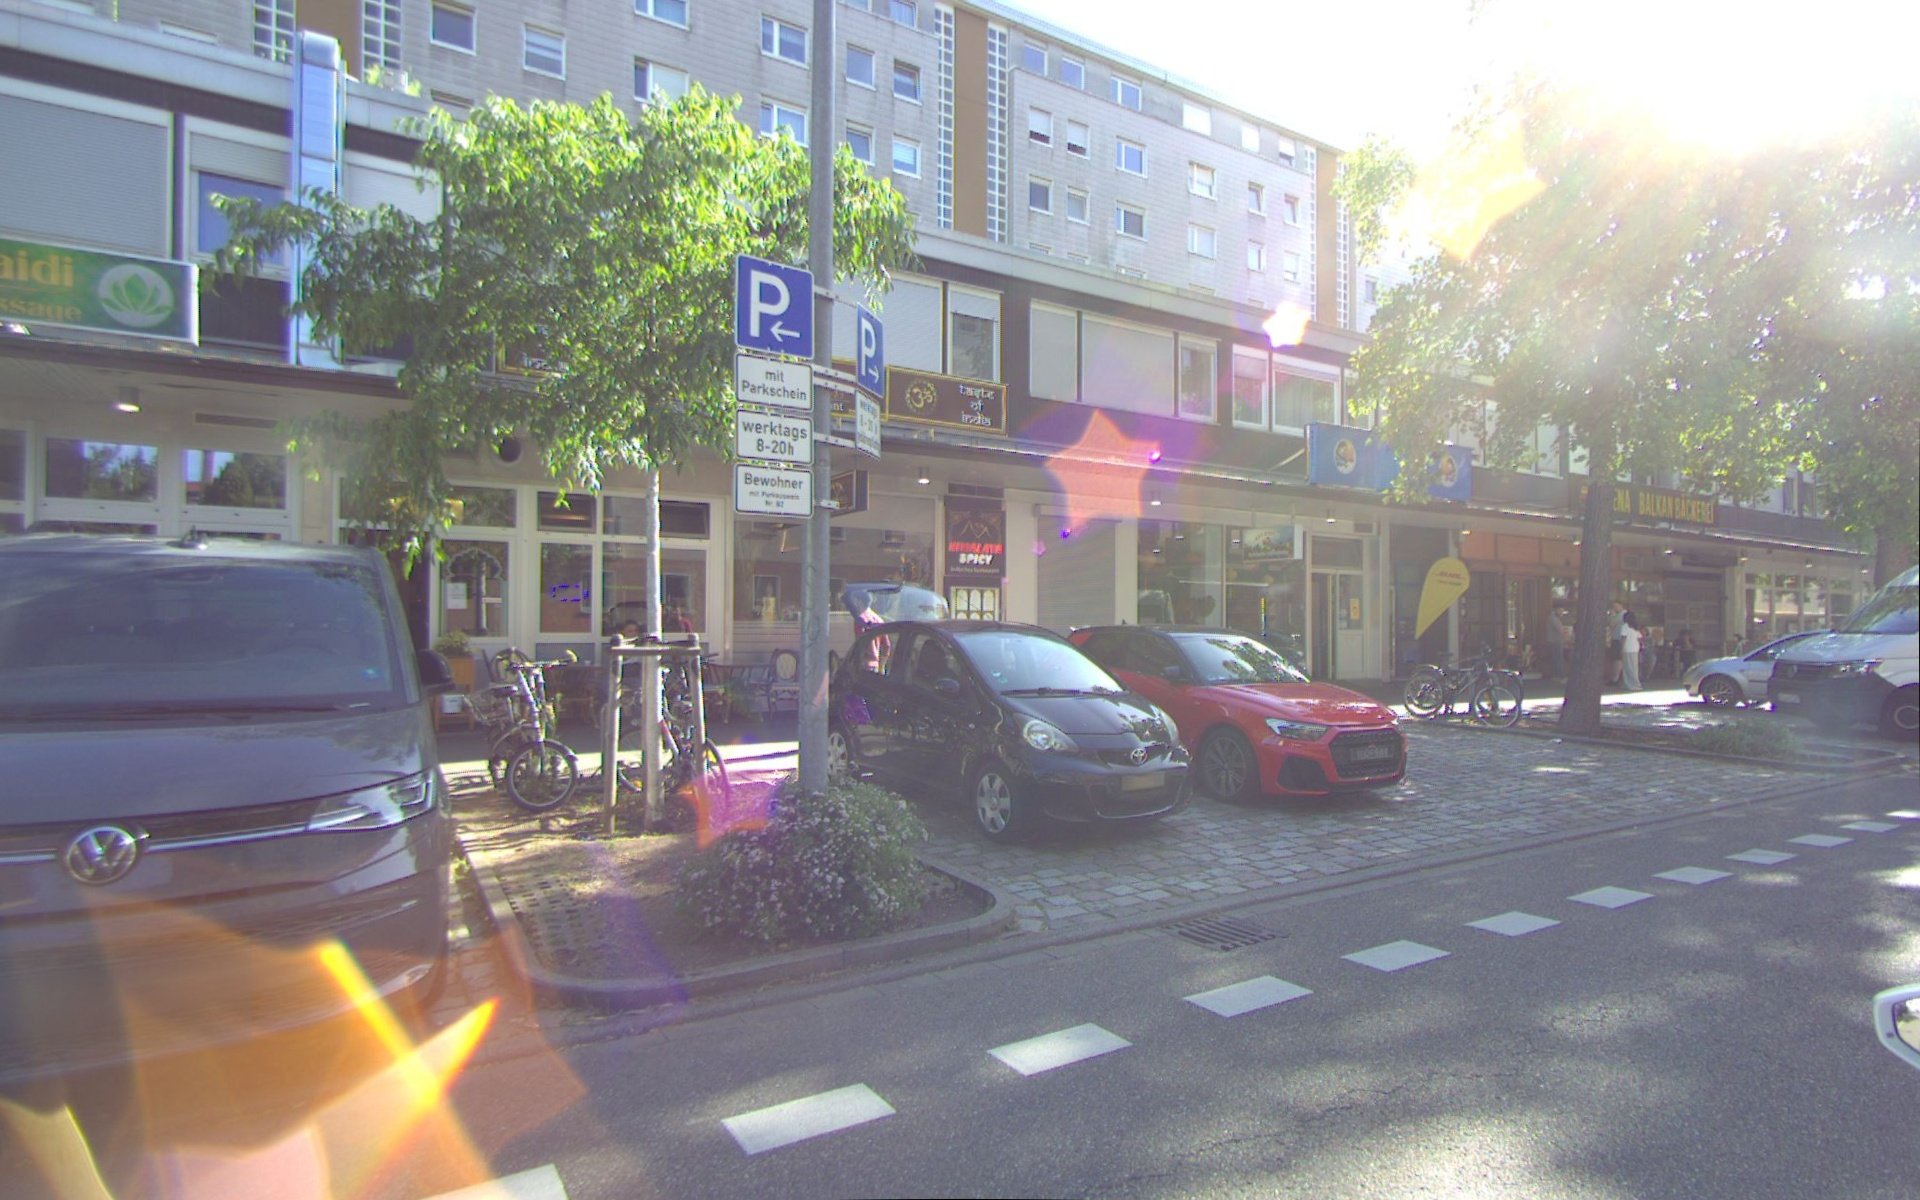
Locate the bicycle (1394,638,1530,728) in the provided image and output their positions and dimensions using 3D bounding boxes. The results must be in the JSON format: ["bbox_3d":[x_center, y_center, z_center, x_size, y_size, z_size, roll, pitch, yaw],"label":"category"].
[{"bbox_3d":[7.240,1.165,14.575,0.615,1.132,1.712,1,0,-28],"label":"bicycle"}]

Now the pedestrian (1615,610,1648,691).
[{"bbox_3d":[14.594,1.087,21.838,0.496,1.728,0.388,1,0,-30],"label":"pedestrian"}]

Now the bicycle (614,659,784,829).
[{"bbox_3d":[-2.003,0.998,7.527,0.609,1.053,1.850,1,-2,-36],"label":"bicycle"}]

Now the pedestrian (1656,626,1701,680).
[{"bbox_3d":[18.437,1.346,25.780,0.696,1.348,0.718,2,0,-34],"label":"pedestrian"}]

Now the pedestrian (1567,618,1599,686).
[{"bbox_3d":[13.862,1.141,22.356,0.416,1.492,0.465,1,-2,-34],"label":"pedestrian"}]

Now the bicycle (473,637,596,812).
[{"bbox_3d":[-3.474,0.905,8.123,0.790,1.183,2.230,1,-2,-25],"label":"bicycle"}]

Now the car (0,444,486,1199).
[{"bbox_3d":[-3.564,0.571,4.840,1.851,1.964,5.005,1,0,-31],"label":"car"}]

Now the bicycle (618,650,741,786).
[{"bbox_3d":[-2.564,0.997,9.047,0.608,1.053,1.853,1,-2,-31],"label":"bicycle"}]

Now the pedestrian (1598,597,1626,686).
[{"bbox_3d":[14.592,0.925,22.483,0.357,1.960,0.388,1,0,-30],"label":"pedestrian"}]

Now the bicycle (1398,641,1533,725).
[{"bbox_3d":[7.786,1.244,15.563,0.579,1.121,1.861,1,0,-28],"label":"bicycle"}]

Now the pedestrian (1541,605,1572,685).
[{"bbox_3d":[13.773,1.031,23.194,0.423,1.805,0.482,1,-2,-34],"label":"pedestrian"}]

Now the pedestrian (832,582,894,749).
[{"bbox_3d":[-1.027,0.686,10.728,0.622,1.735,0.581,0,-1,-3],"label":"pedestrian"}]

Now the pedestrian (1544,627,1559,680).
[{"bbox_3d":[14.263,1.284,24.217,0.212,1.261,0.211,1,0,-30],"label":"pedestrian"}]

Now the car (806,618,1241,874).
[{"bbox_3d":[0.276,0.924,8.049,1.596,1.470,3.643,1,0,-34],"label":"car"}]

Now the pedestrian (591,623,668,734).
[{"bbox_3d":[-3.933,0.910,11.951,0.738,1.262,0.646,1,-1,-31],"label":"pedestrian"}]

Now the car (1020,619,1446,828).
[{"bbox_3d":[2.329,0.966,9.578,1.689,1.470,3.900,1,0,-29],"label":"car"}]

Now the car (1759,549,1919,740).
[{"bbox_3d":[15.177,0.604,13.715,6.469,2.506,2.001,0,-1,11],"label":"car"}]

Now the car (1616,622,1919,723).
[{"bbox_3d":[14.543,1.213,18.267,1.840,1.476,3.965,1,0,-32],"label":"car"}]
